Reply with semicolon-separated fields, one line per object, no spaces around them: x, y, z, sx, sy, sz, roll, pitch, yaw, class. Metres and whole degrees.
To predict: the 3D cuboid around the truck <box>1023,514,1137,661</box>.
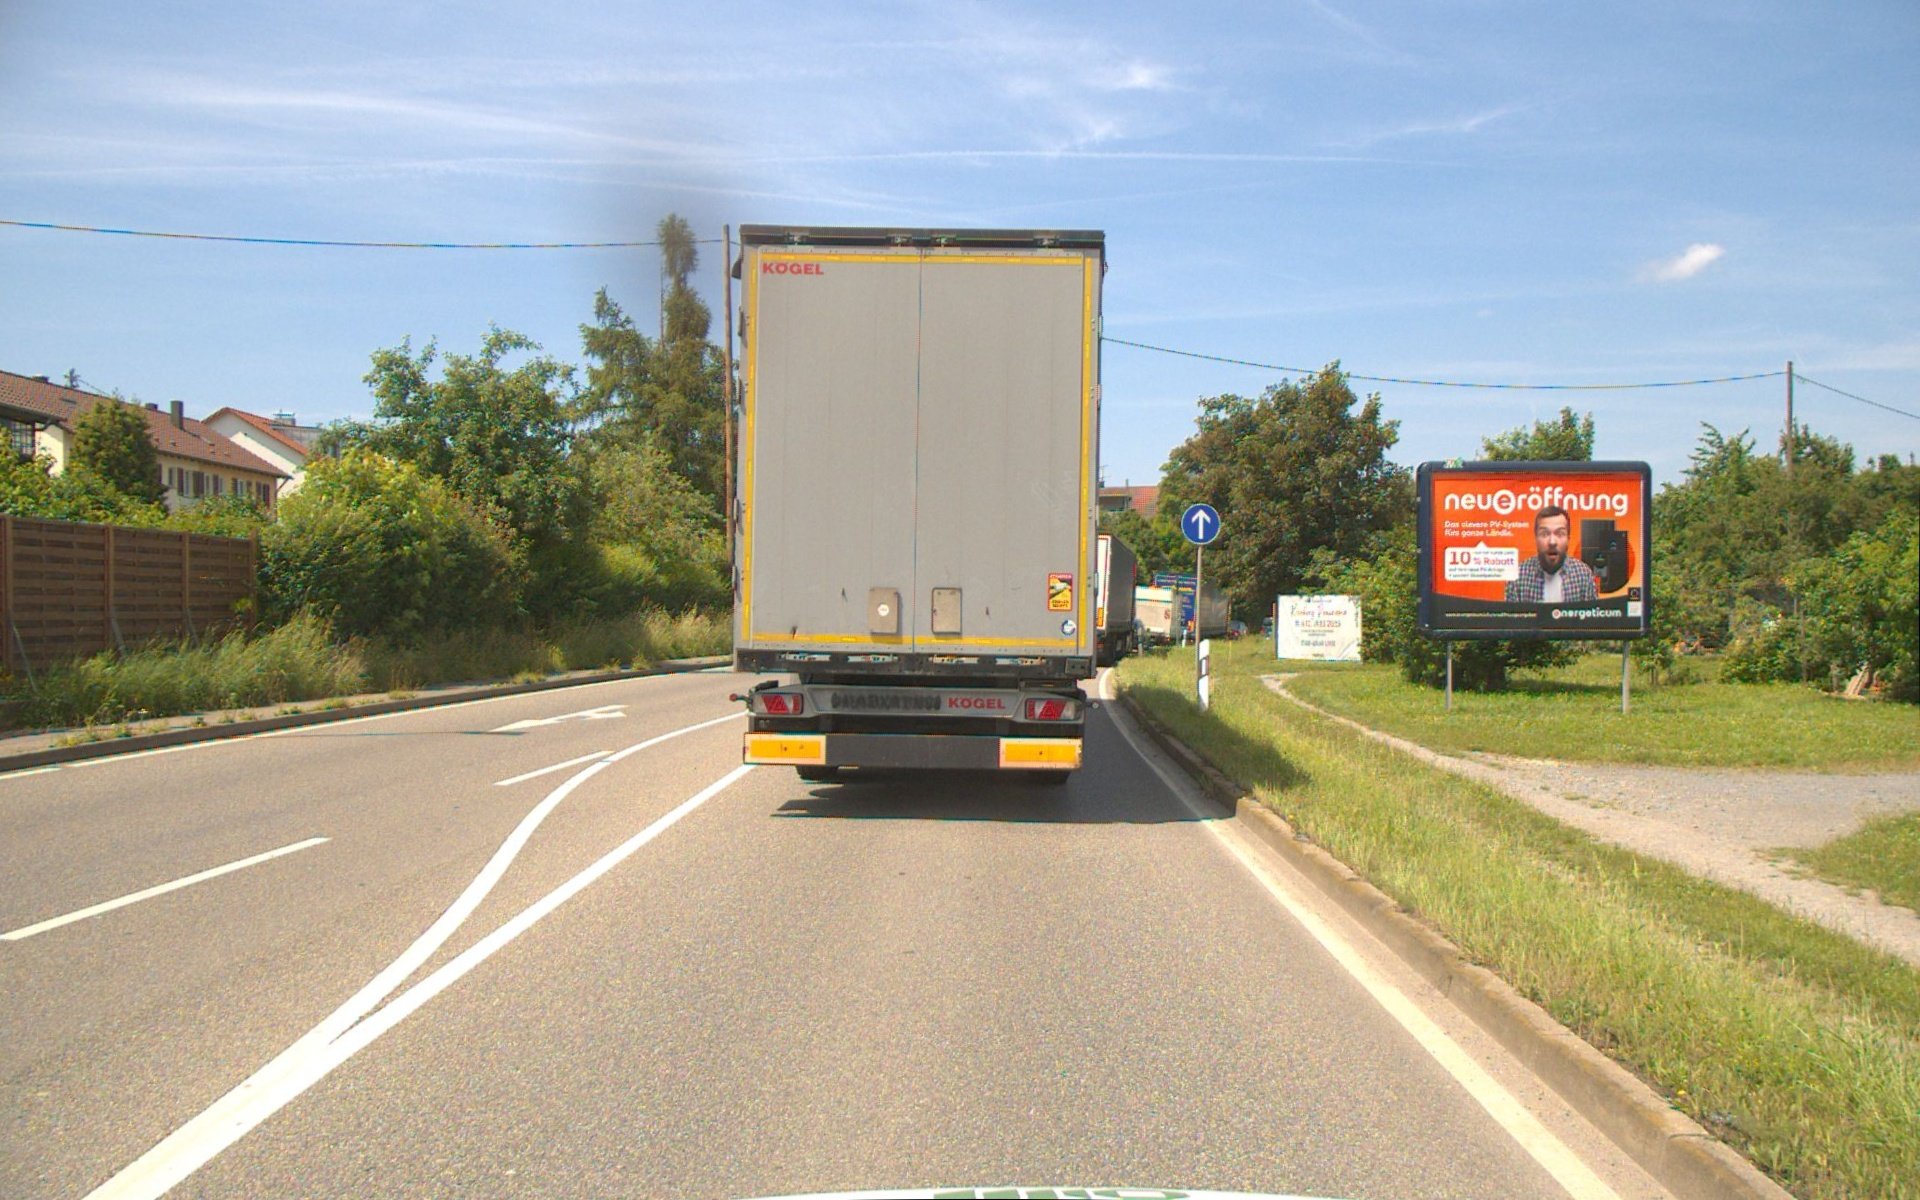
4.463;-0.248;57.699;2.701;4.364;16.427;1;-1;8;truck

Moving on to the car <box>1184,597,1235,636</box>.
15.682;0.981;103.812;2.478;2.317;6.386;1;0;15;car

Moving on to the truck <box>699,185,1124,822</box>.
-0.165;-0.669;16.749;2.763;4.200;11.446;1;0;2;truck

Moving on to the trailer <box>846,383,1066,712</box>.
0.060;-0.687;24.408;2.766;4.183;6.546;1;0;2;trailer

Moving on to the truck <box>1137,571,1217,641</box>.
12.257;0.302;92.634;3.360;3.667;9.361;1;0;14;truck

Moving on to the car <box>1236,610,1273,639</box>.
21.190;1.772;118.942;1.952;2.049;4.001;1;-1;19;car

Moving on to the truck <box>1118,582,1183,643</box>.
9.572;0.655;82.511;2.489;2.852;6.036;1;-1;13;truck

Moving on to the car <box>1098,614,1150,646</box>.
7.406;1.348;74.455;1.951;1.400;4.003;1;-1;11;car

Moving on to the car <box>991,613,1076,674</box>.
1.852;1.037;40.433;1.780;1.370;3.850;1;-1;7;car

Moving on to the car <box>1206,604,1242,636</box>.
17.600;1.355;110.132;1.951;2.049;4.003;1;-1;15;car
